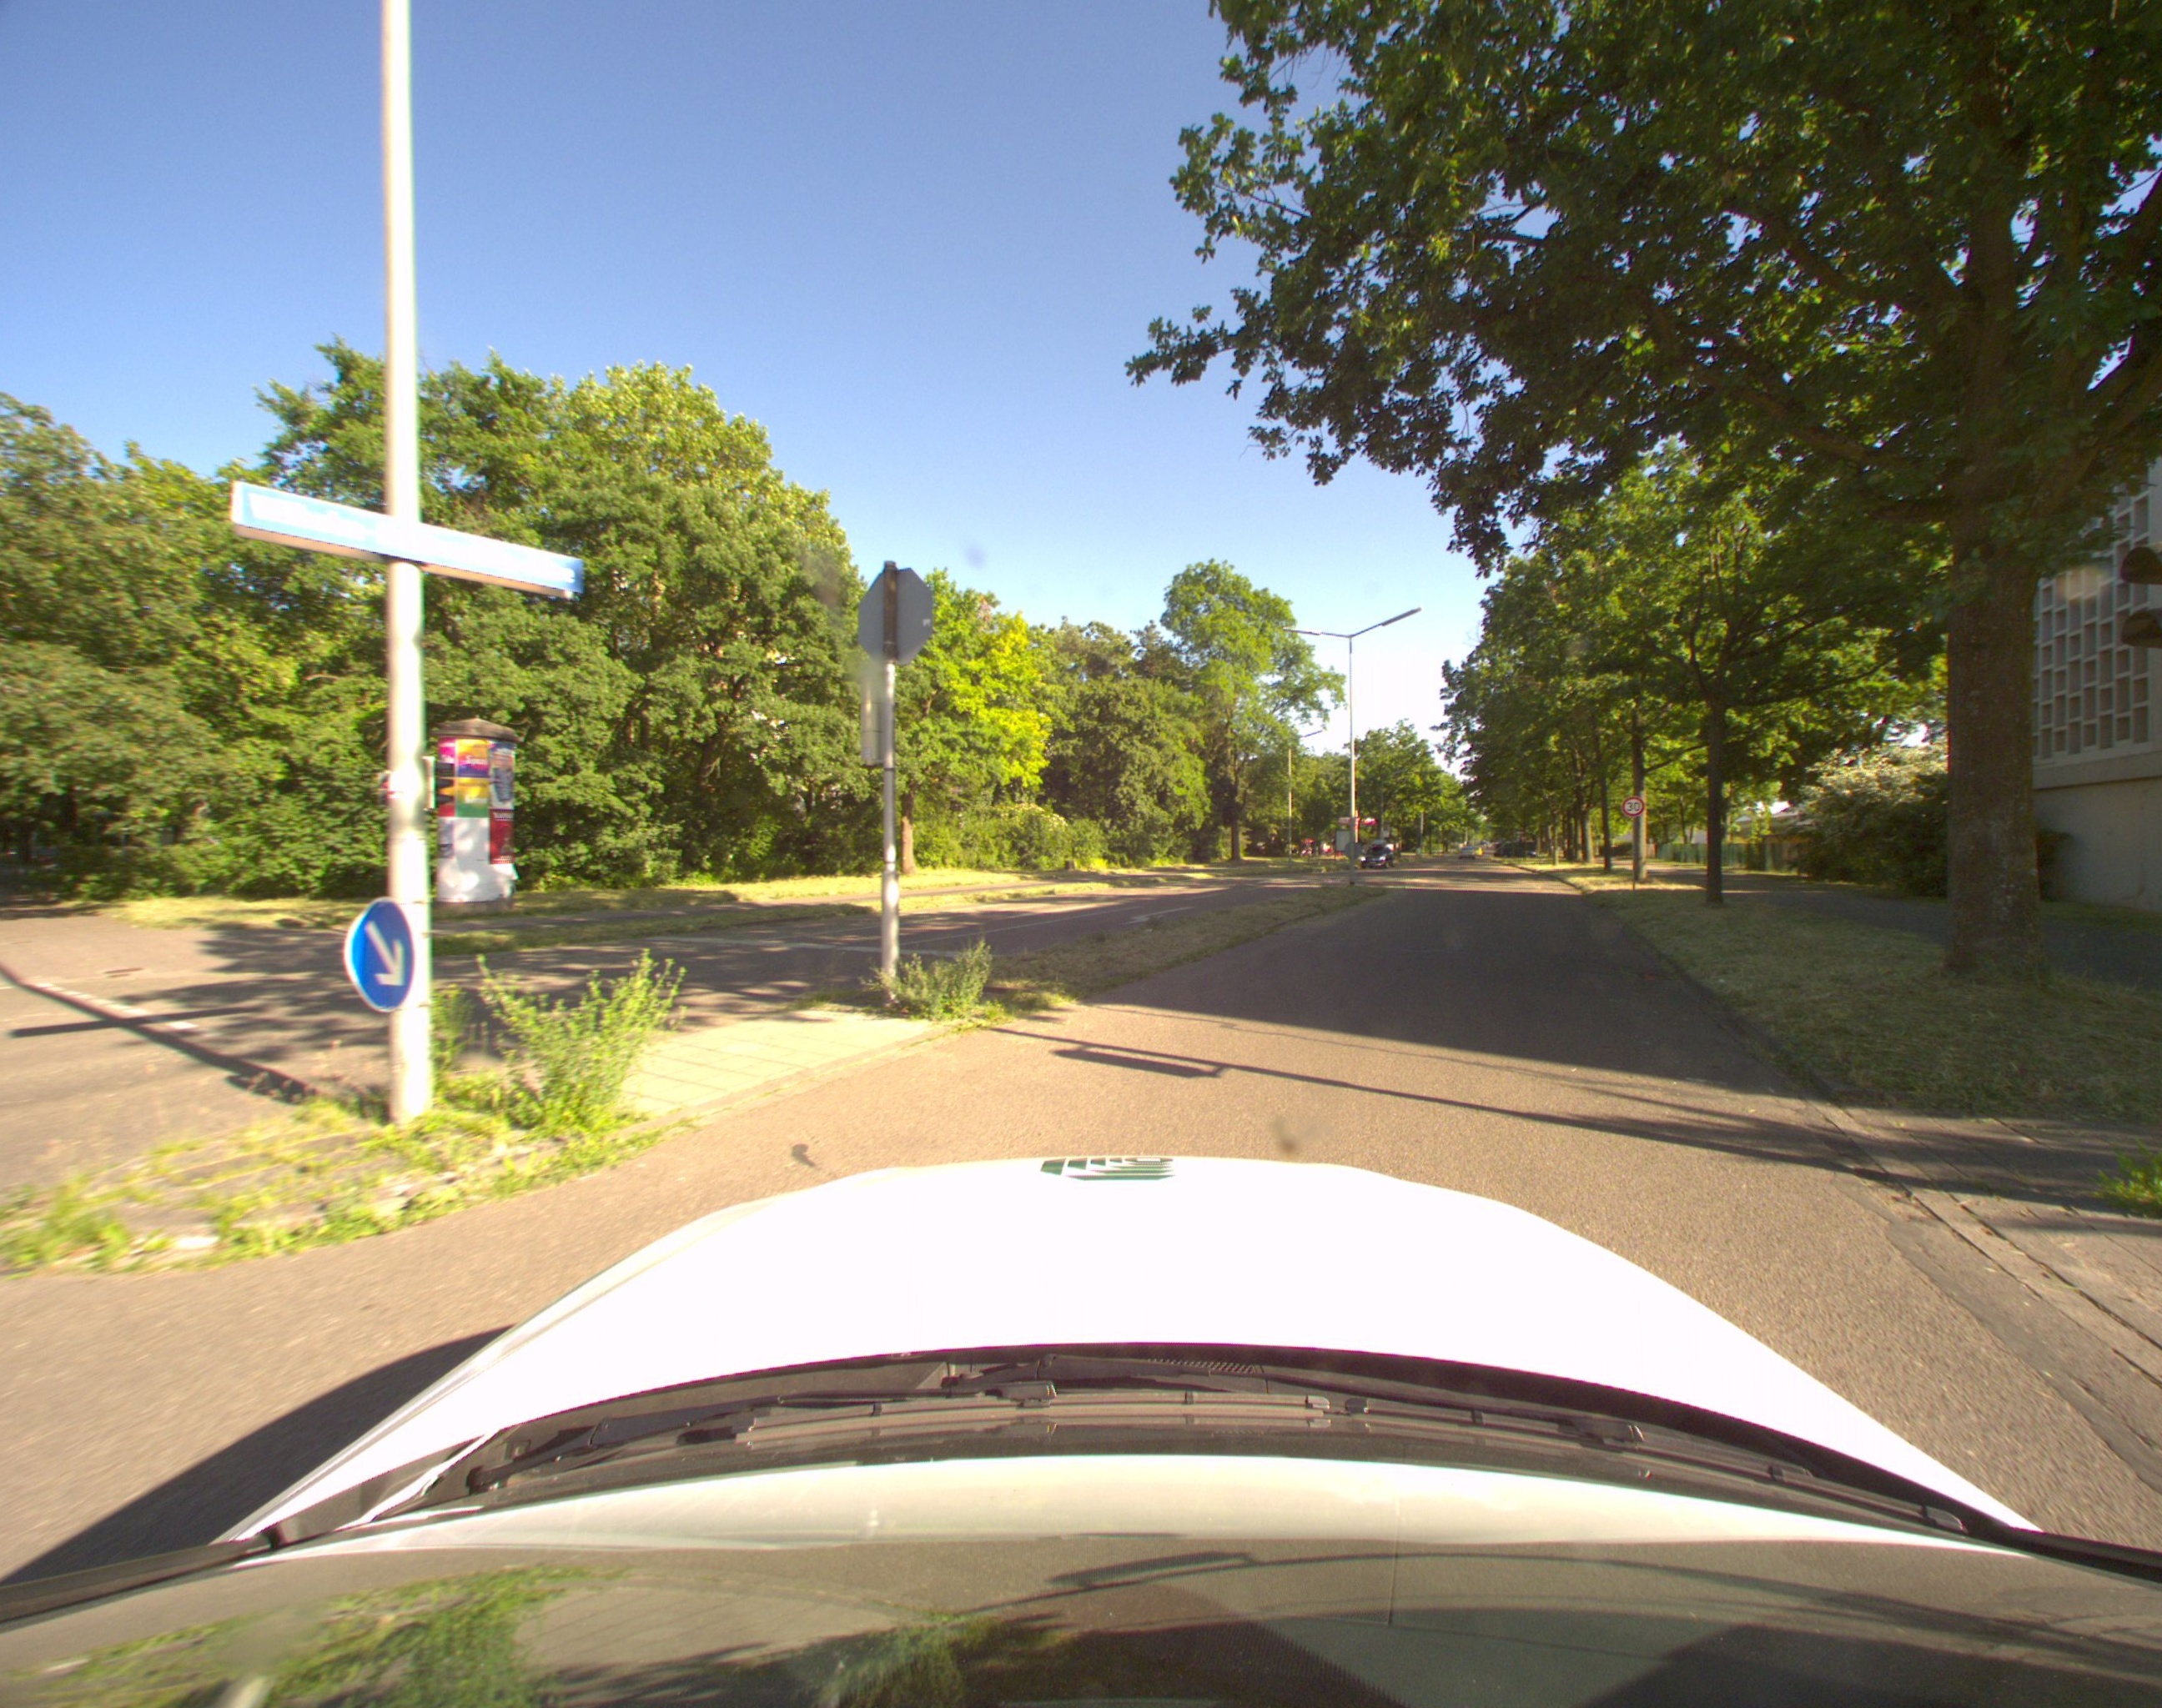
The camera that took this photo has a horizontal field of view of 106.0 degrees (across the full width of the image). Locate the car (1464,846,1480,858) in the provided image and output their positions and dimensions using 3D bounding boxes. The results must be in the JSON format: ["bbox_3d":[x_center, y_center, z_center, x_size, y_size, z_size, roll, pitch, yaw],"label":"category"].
[{"bbox_3d":[44.908,-0.214,93.482,1.645,1.337,3.686,-1,-1,26],"label":"car"}]

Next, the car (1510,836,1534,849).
[{"bbox_3d":[75.822,-2.018,140.048,3.534,2.051,1.642,-1,-4,26],"label":"car"}]

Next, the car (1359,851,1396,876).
[{"bbox_3d":[22.183,0.690,60.885,1.822,1.708,4.533,-1,0,30],"label":"car"}]

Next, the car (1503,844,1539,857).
[{"bbox_3d":[50.528,-0.376,93.570,3.619,1.398,1.325,-1,-1,26],"label":"car"}]

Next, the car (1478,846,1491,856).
[{"bbox_3d":[56.727,-0.402,114.507,1.645,1.337,3.686,-1,-1,26],"label":"car"}]

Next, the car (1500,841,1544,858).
[{"bbox_3d":[52.011,-0.514,96.146,4.461,1.953,1.697,-1,-1,26],"label":"car"}]
